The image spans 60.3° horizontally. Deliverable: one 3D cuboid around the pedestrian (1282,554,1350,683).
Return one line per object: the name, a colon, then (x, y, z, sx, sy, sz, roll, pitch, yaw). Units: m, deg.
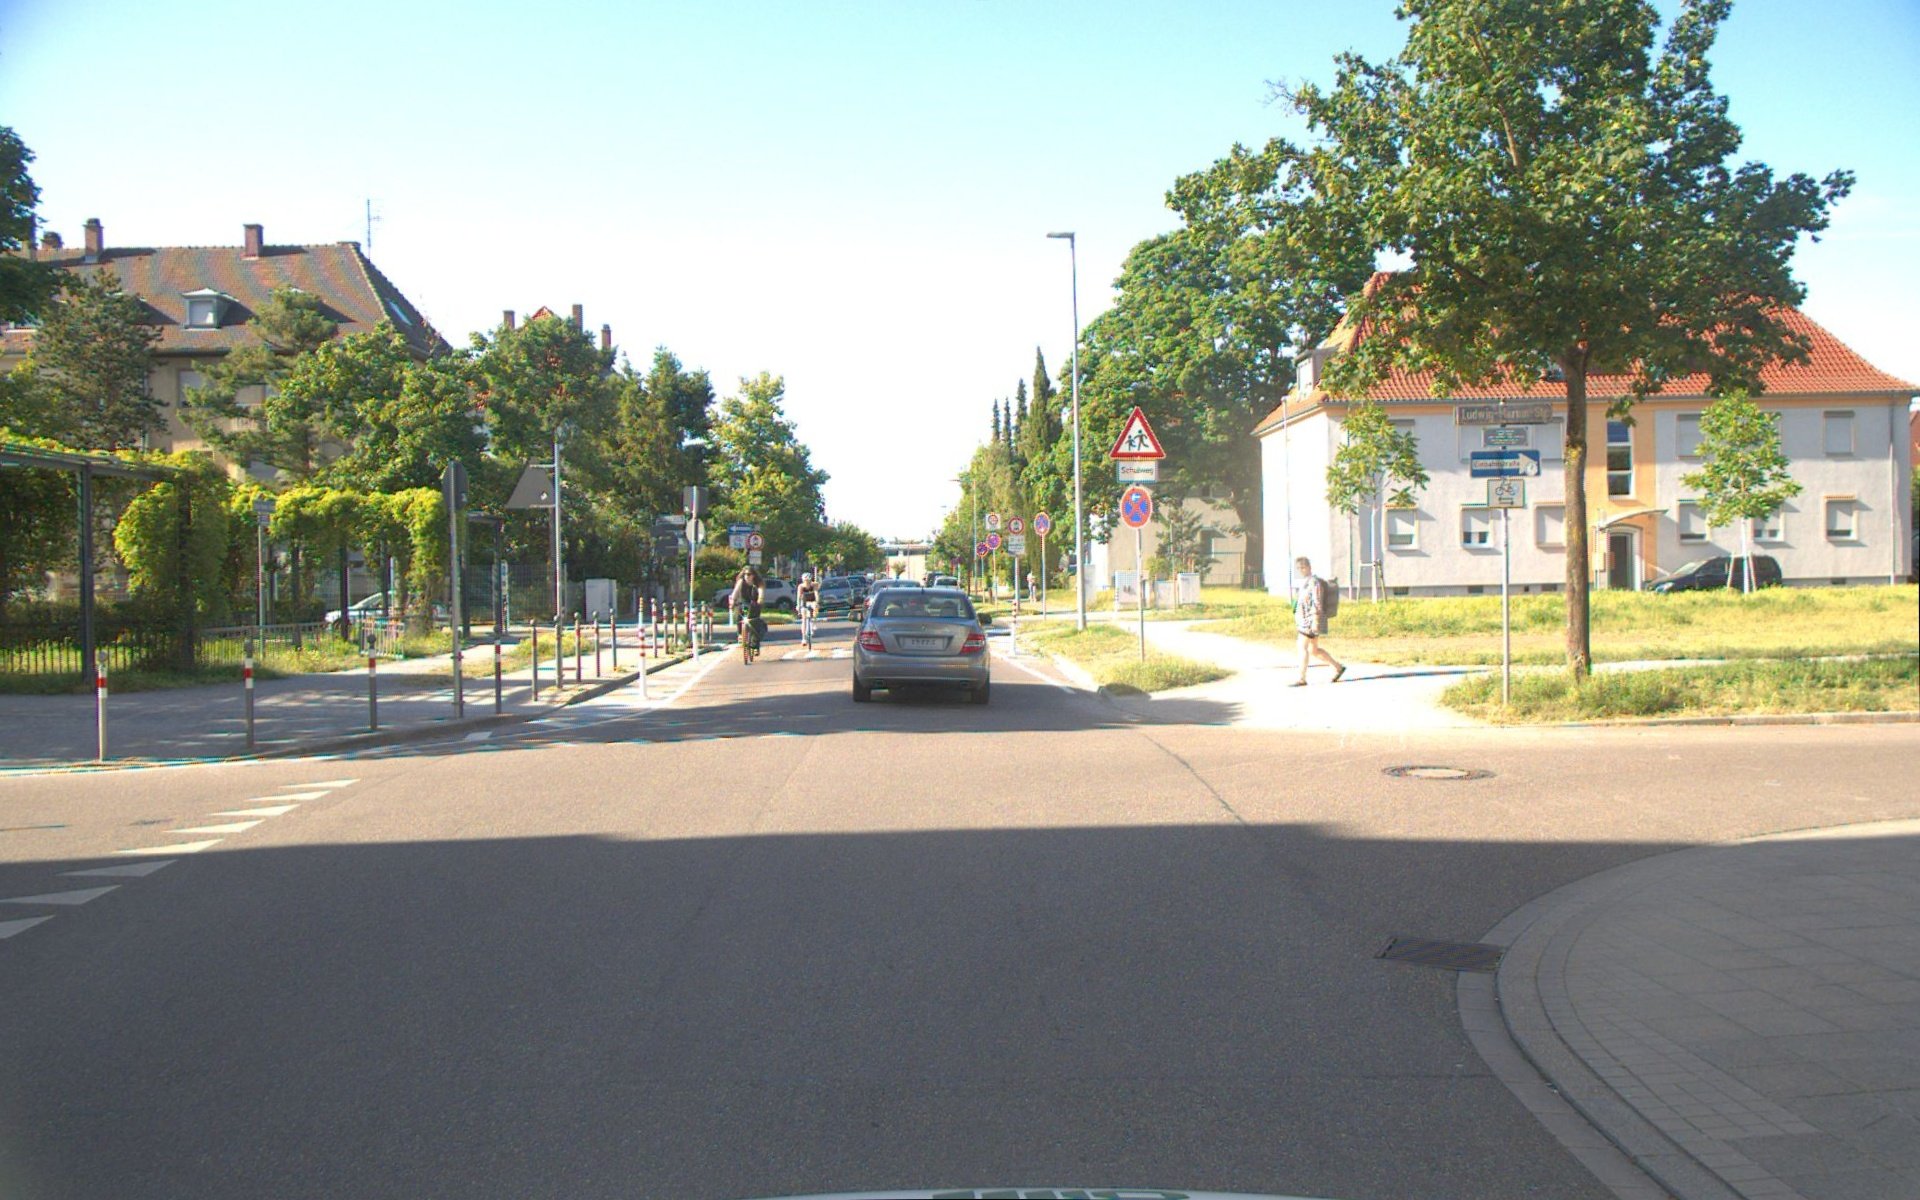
pedestrian: (4.634, 0.233, 21.526, 0.635, 1.651, 0.615, -1, 0, 36)

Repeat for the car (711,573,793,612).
car: (-9.069, -0.320, 72.077, 3.429, 1.560, 1.642, -2, 1, -8)

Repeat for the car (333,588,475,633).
car: (-17.760, 0.340, 52.967, 3.909, 1.400, 1.998, 1, -1, -5)

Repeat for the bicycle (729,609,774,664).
bicycle: (-3.852, 0.663, 30.632, 0.577, 0.948, 1.850, -1, 1, 0)

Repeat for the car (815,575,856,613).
car: (-6.101, -0.325, 80.694, 1.837, 1.758, 3.995, -2, 1, -6)

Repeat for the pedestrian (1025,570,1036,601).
pedestrian: (3.599, -0.739, 84.095, 0.499, 1.586, 0.643, 1, -1, -1)

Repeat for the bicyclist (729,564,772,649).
bicyclist: (-3.868, 0.116, 30.613, 0.666, 1.535, 0.655, -1, 1, 0)

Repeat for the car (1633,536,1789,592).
car: (24.394, -1.166, 53.835, 4.200, 1.627, 1.900, -2, 1, 0)

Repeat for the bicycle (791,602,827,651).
bicycle: (-3.152, 0.547, 34.619, 0.577, 0.948, 1.850, -1, 1, 0)

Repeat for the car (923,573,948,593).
car: (-2.083, -1.420, 139.519, 1.753, 1.559, 3.995, -2, 1, -6)

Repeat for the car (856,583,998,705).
car: (-0.412, 0.551, 21.823, 1.691, 1.445, 3.959, 1, -1, -1)

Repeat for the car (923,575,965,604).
car: (-0.833, -0.523, 83.324, 1.689, 1.353, 3.995, -2, 1, -6)

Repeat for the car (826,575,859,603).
car: (-7.036, -0.649, 98.741, 1.753, 1.559, 3.995, -2, 1, -6)

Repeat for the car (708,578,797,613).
car: (-9.430, -0.183, 75.422, 3.908, 1.550, 1.755, 1, -1, -4)

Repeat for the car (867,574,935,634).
car: (-1.532, 0.113, 42.899, 1.672, 1.473, 4.200, 1, -1, -2)

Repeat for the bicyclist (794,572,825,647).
bicyclist: (-3.150, 0.187, 34.652, 0.560, 1.535, 0.655, -1, 1, 0)
